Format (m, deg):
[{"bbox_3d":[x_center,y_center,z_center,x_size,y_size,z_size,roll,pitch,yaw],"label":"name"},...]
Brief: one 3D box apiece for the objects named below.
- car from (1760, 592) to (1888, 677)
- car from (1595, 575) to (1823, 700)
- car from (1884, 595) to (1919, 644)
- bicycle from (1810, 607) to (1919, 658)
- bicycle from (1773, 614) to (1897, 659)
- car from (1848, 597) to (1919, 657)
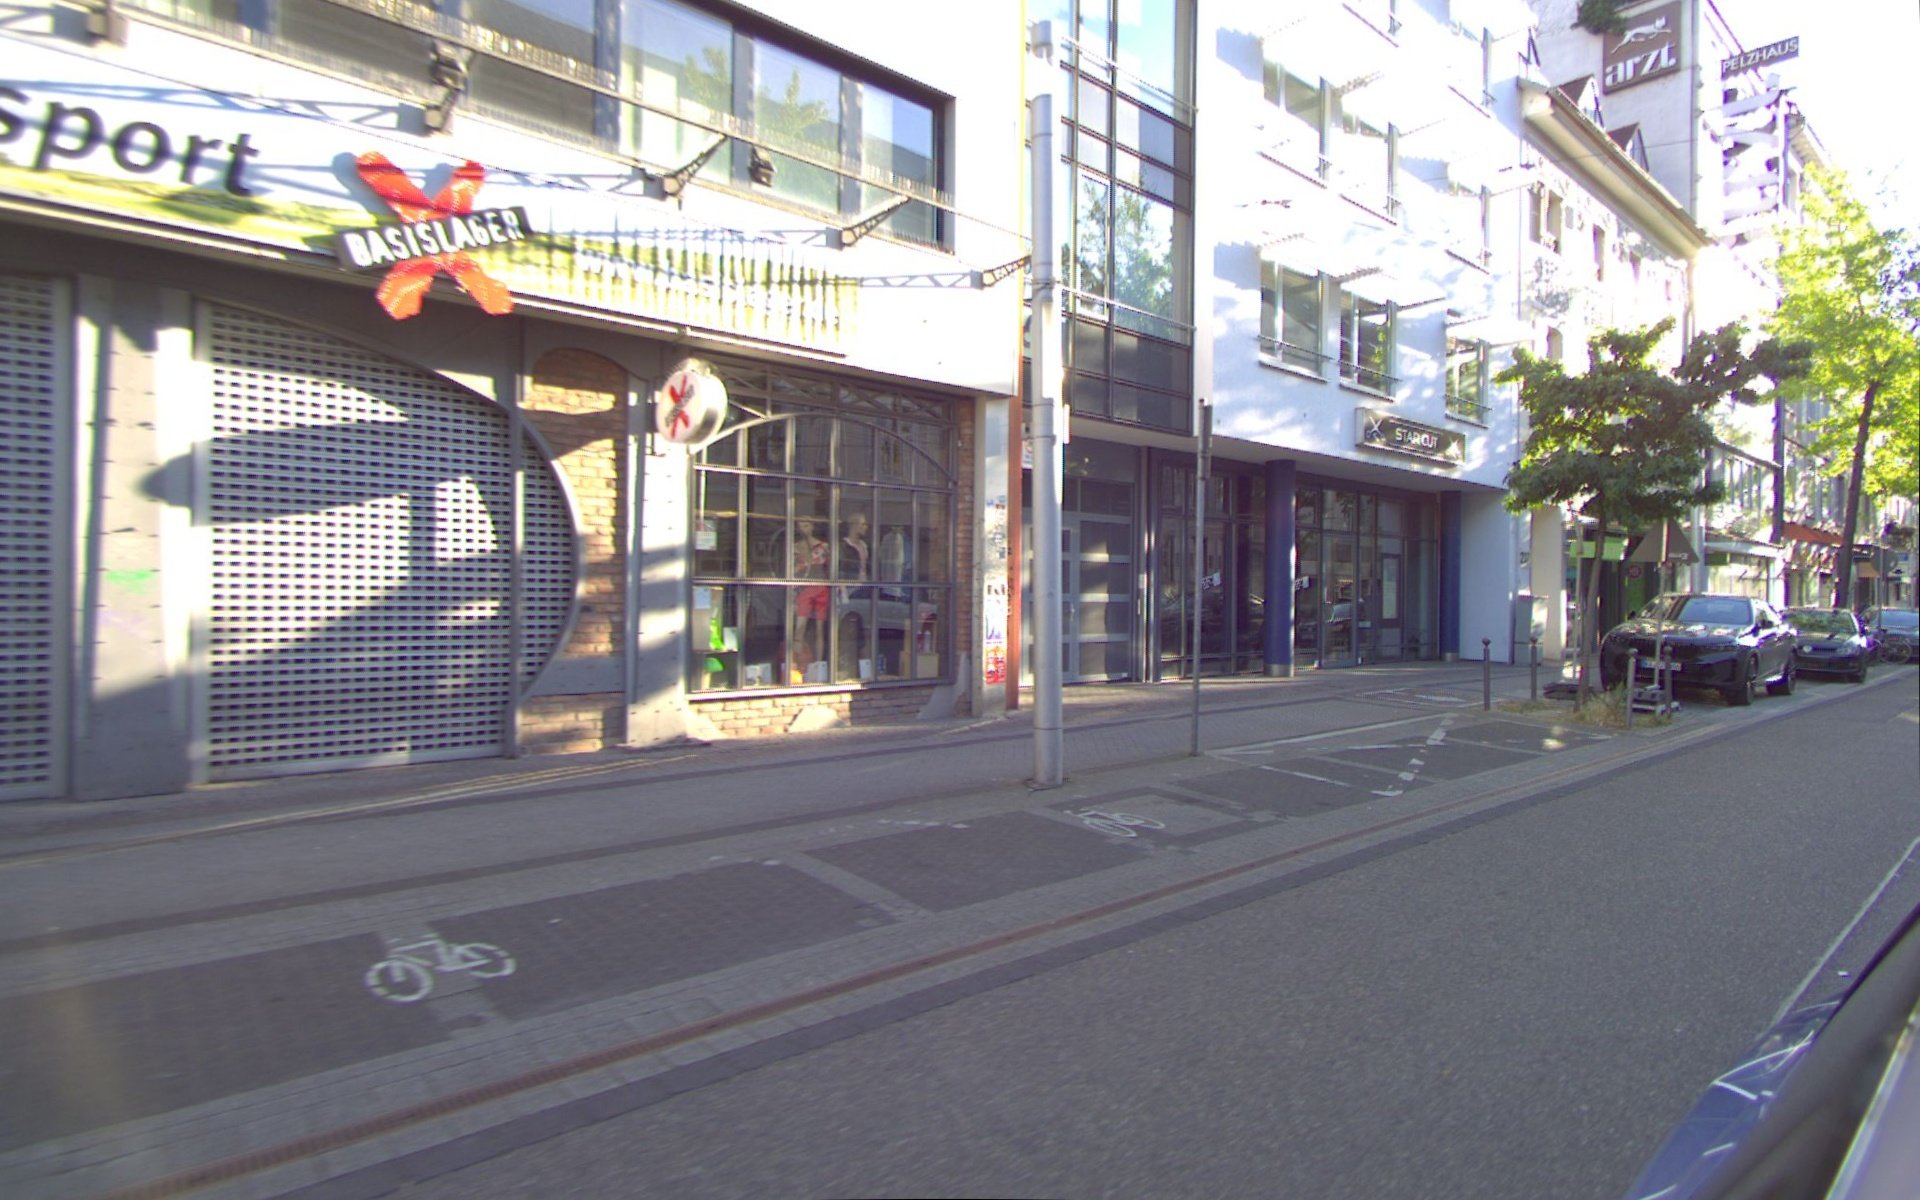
[{"bbox_3d":[18.533,0.648,21.711,1.864,1.529,4.181,4,3,41],"label":"car"},{"bbox_3d":[12.551,0.527,16.843,4.788,1.709,1.984,0,3,-41],"label":"car"},{"bbox_3d":[32.152,0.650,33.401,4.211,1.529,1.869,0,3,-40],"label":"car"},{"bbox_3d":[23.354,0.811,25.912,0.737,1.203,2.325,1,0,-38],"label":"bicycle"},{"bbox_3d":[21.616,0.879,25.052,0.603,1.000,2.249,1,0,-38],"label":"bicycle"},{"bbox_3d":[25.958,0.687,27.757,4.210,1.530,1.769,0,0,-40],"label":"car"}]
